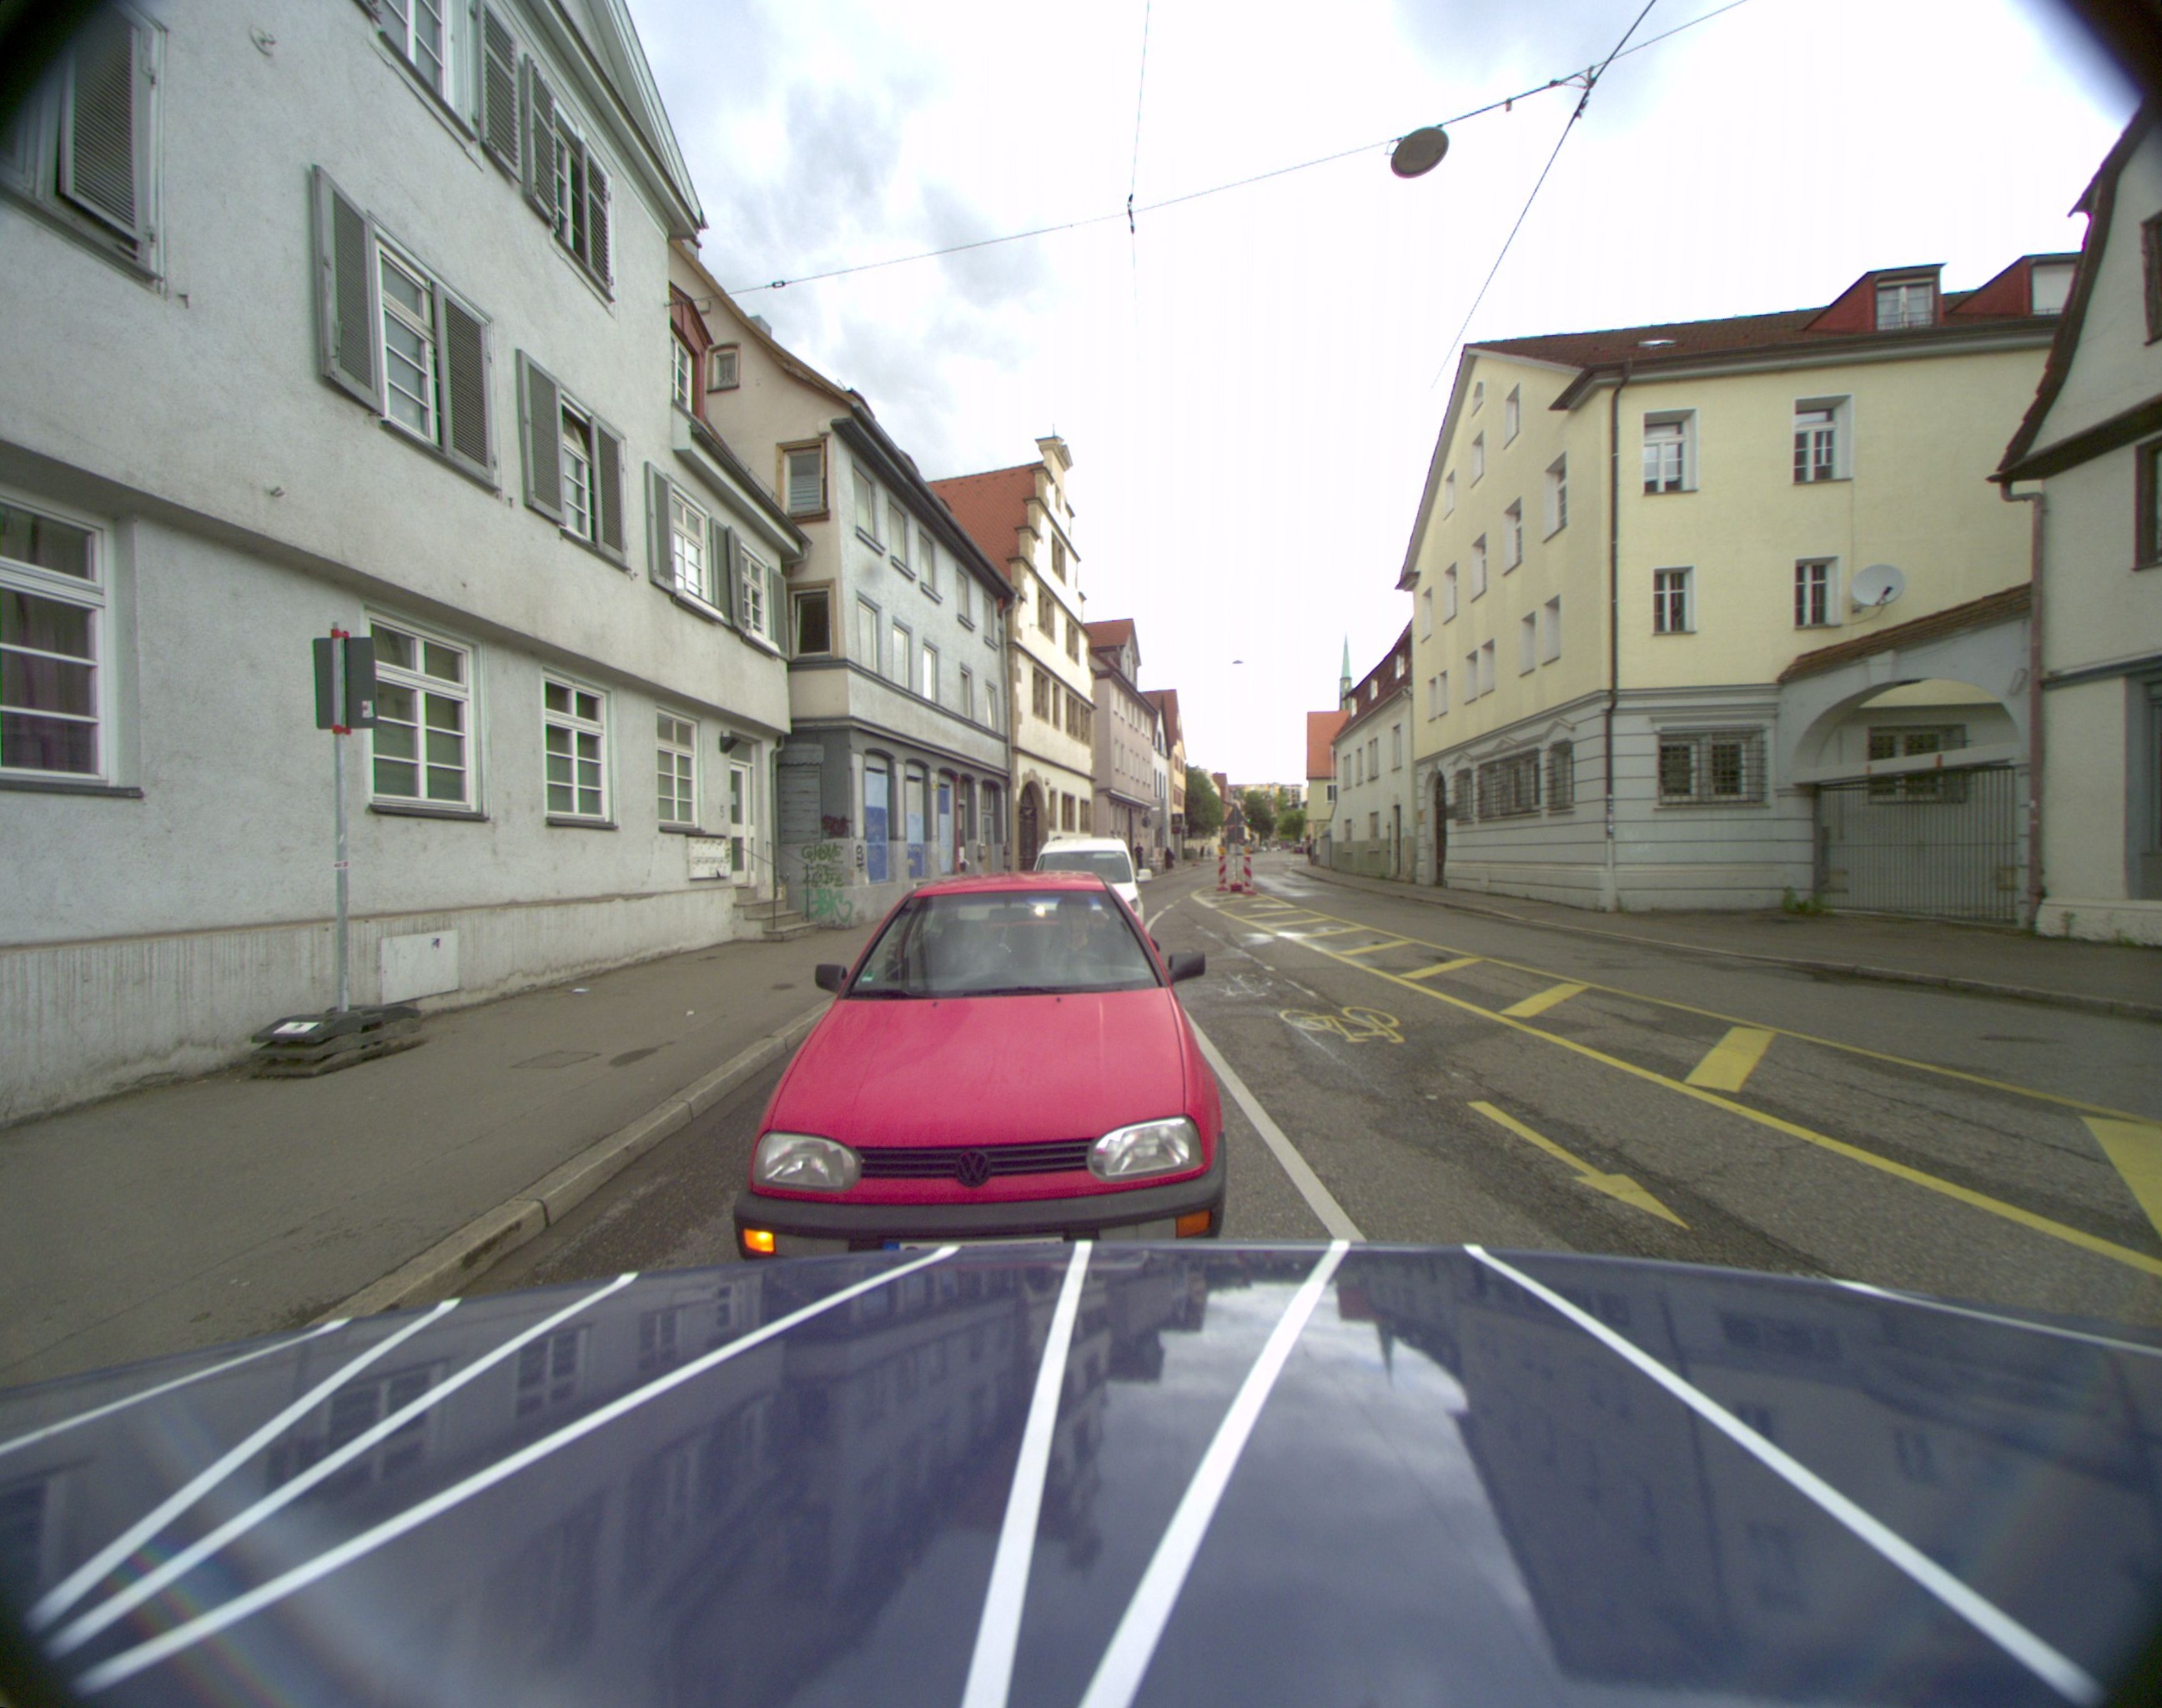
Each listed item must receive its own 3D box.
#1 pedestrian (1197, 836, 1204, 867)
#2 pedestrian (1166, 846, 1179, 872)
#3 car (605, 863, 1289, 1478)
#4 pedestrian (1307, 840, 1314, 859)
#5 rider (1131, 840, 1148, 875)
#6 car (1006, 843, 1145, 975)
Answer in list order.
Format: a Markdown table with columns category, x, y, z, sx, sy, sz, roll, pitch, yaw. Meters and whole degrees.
| category | x | y | z | sx | sy | sz | roll | pitch | yaw |
| --- | --- | --- | --- | --- | --- | --- | --- | --- | --- |
| pedestrian | 10.078 | -0.204 | 63.913 | 0.495 | 2.513 | 0.746 | -1 | 1 | 12 |
| pedestrian | 5.788 | 0.334 | 48.090 | 0.725 | 1.604 | 0.649 | -2 | 0 | 12 |
| car | -0.321 | 0.892 | 4.038 | 1.792 | 1.418 | 3.998 | -1 | 3 | 1 |
| pedestrian | 21.842 | -0.421 | 72.215 | 0.592 | 1.769 | 0.506 | 0 | 1 | 20 |
| rider | 3.163 | 0.175 | 41.119 | 0.719 | 1.837 | 0.798 | -1 | 0 | 15 |
| car | 0.018 | 0.703 | 12.166 | 1.814 | 1.695 | 4.256 | -1 | 1 | 2 |
